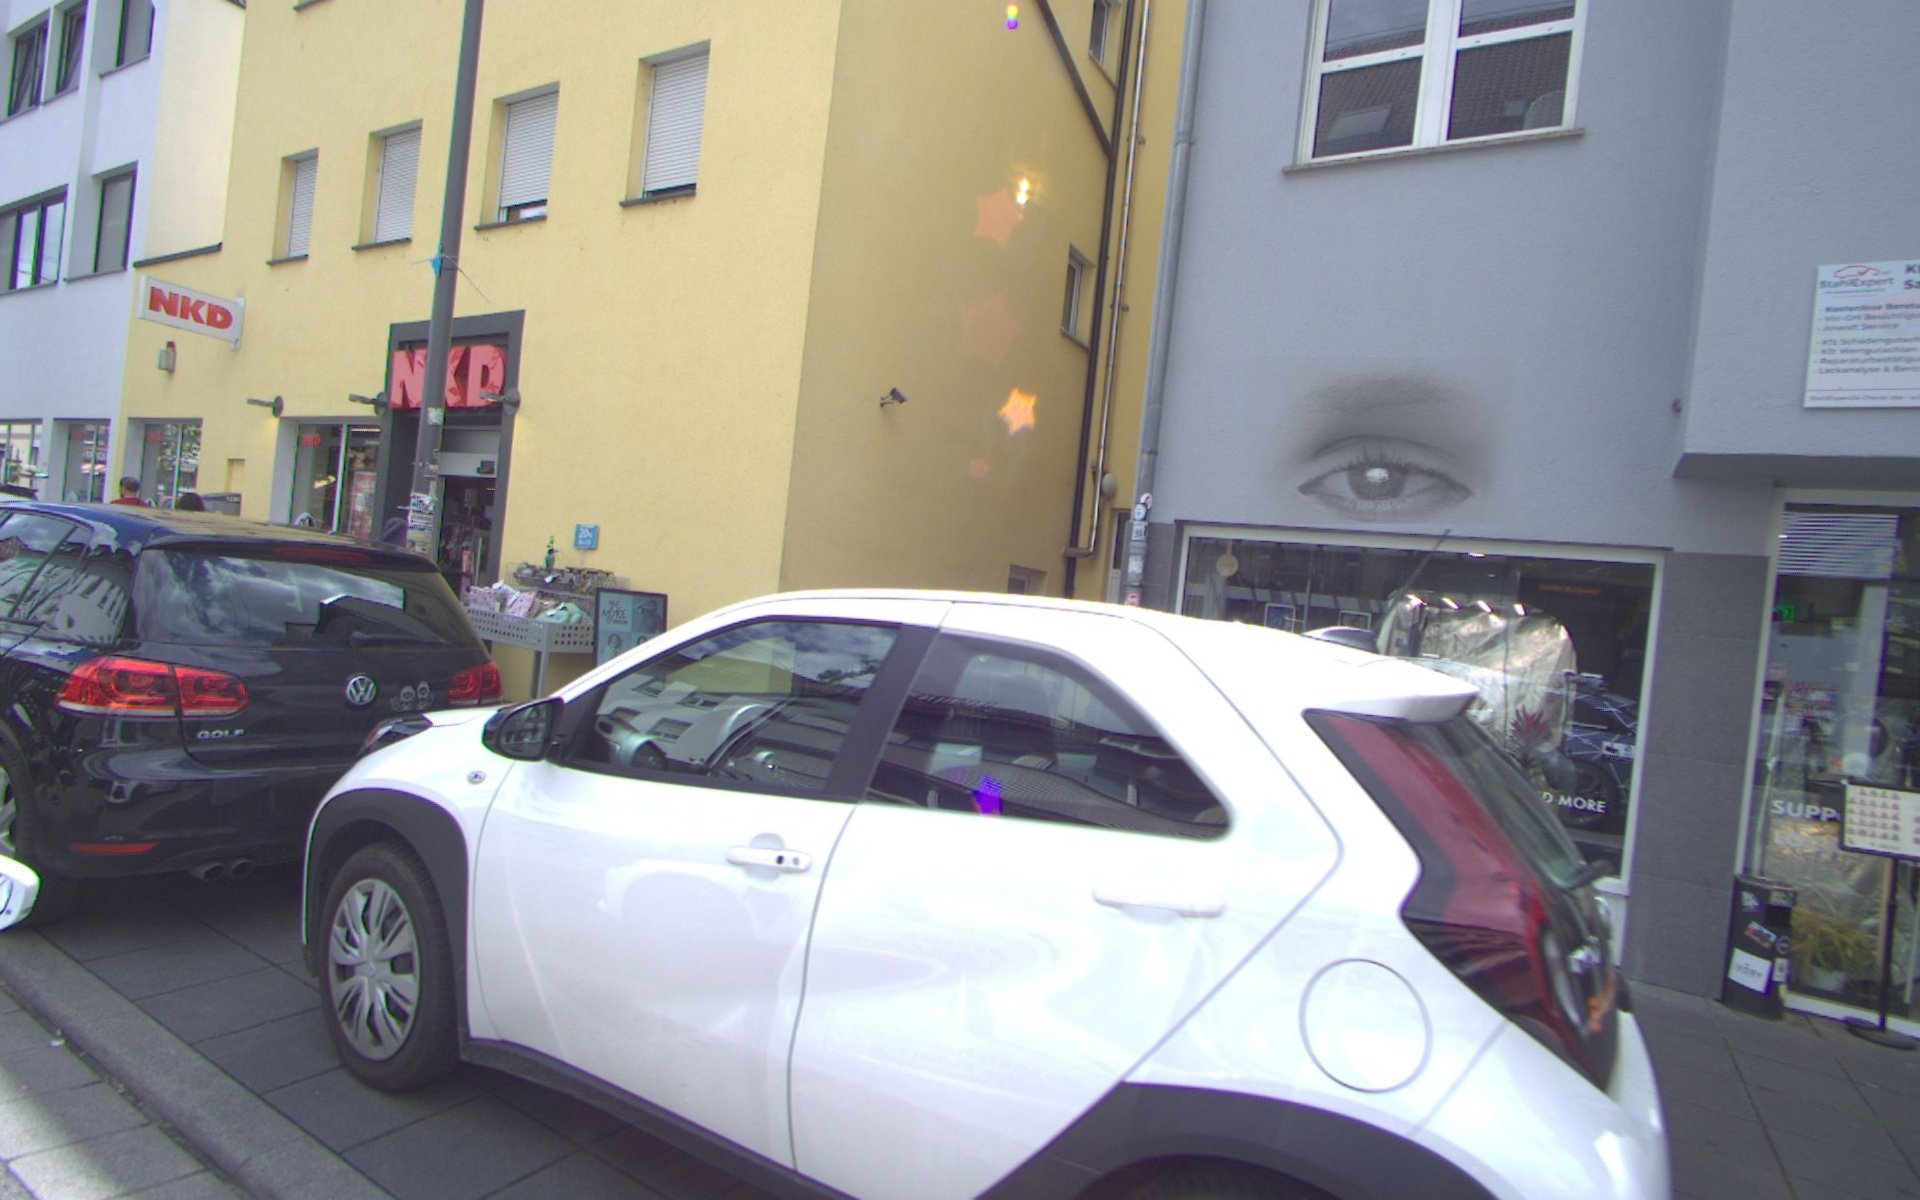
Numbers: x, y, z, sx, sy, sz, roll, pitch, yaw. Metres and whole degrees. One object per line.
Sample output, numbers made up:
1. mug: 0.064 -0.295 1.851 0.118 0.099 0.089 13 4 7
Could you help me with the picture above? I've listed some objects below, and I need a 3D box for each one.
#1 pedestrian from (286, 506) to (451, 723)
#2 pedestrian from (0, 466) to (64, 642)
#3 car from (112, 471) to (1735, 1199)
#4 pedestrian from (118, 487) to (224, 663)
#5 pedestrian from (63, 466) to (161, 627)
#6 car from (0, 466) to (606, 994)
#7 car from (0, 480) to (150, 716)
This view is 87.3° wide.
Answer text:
1. pedestrian: -4.621 0.115 7.878 0.714 1.573 0.750 6 0 30
2. pedestrian: -10.503 -0.510 11.122 0.566 1.862 0.589 6 -1 32
3. car: -0.383 0.659 2.834 3.691 1.592 1.694 6 -2 28
4. pedestrian: -8.764 -0.272 11.177 0.566 1.862 0.589 6 -1 32
5. pedestrian: -10.343 -0.645 12.273 0.566 1.862 0.589 6 -1 32
6. car: -3.988 0.217 4.760 4.445 1.489 1.694 8 -1 29
7. car: -8.183 -0.222 7.611 4.877 1.493 1.633 6 -2 33
